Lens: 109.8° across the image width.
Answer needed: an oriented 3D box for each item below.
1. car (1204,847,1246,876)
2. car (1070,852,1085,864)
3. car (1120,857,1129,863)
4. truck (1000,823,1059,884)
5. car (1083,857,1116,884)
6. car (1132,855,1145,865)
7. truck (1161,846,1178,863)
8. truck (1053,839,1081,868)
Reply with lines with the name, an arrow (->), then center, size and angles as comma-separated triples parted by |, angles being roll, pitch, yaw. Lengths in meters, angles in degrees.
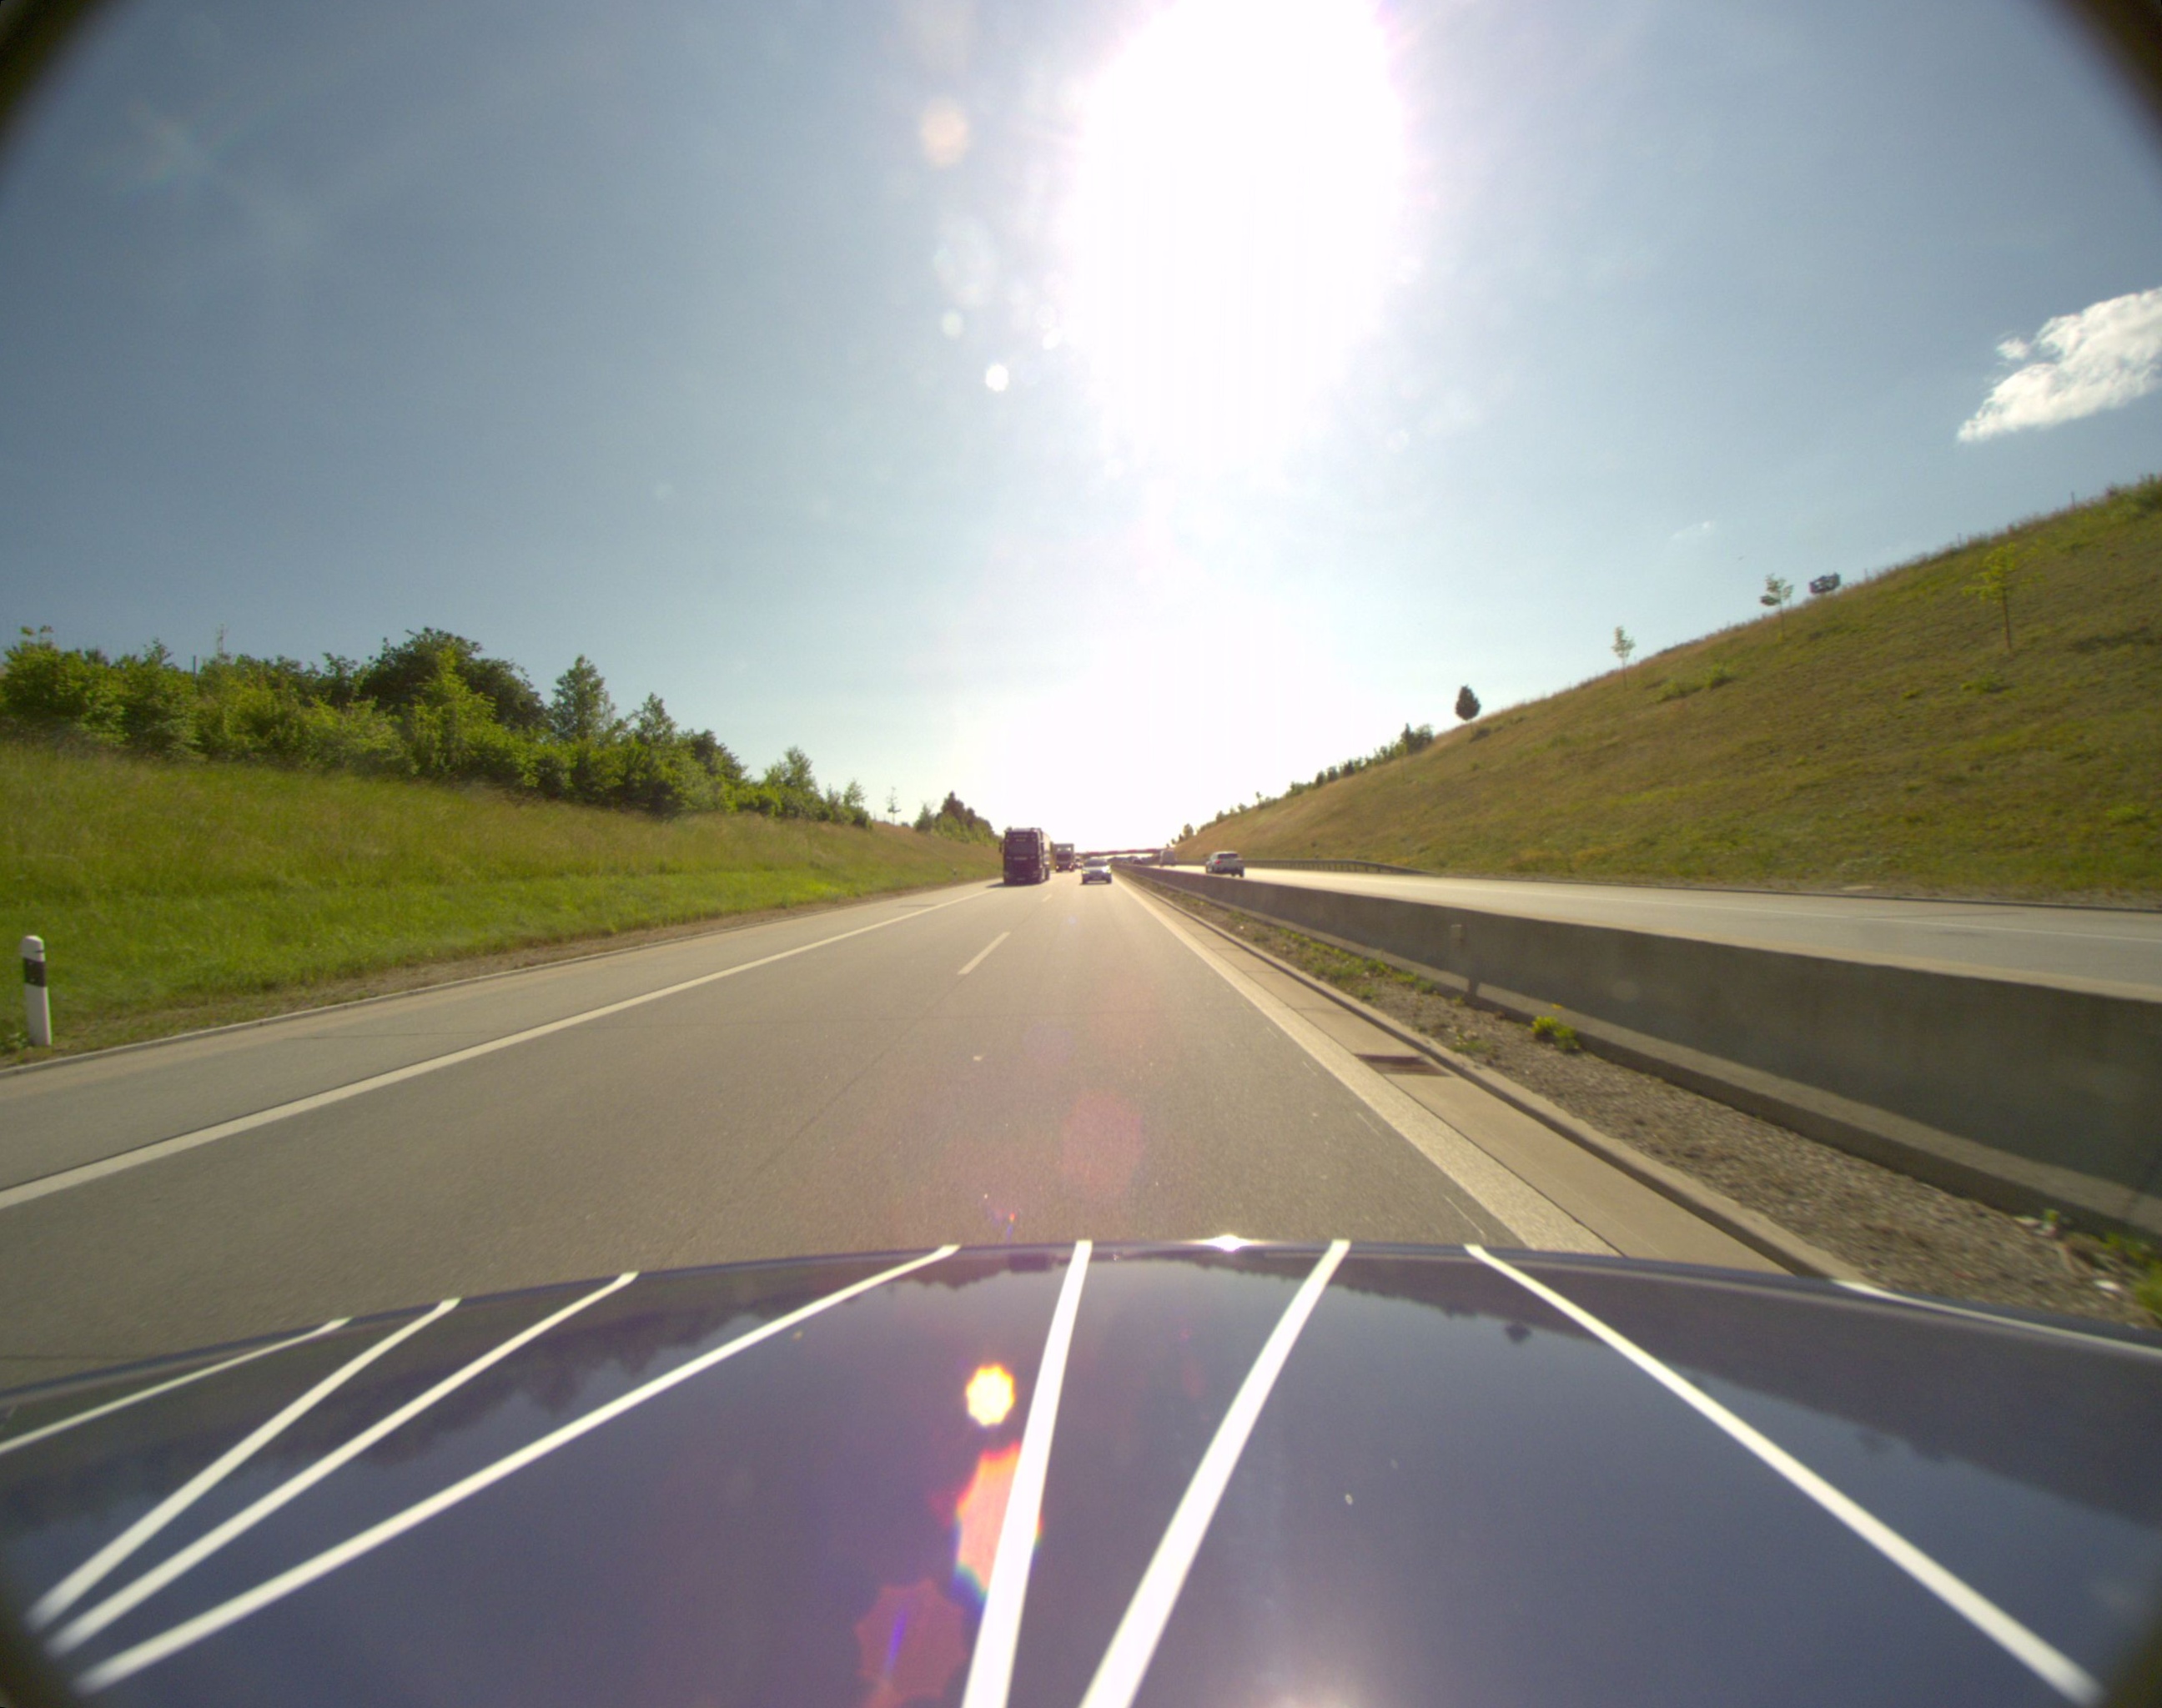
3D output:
car -> 8.586, 0.454, 45.616 | 1.780, 1.592, 4.039 | -3, 0, 1
car -> -0.691, 0.718, 148.916 | 2.816, 2.143, 5.947 | -2, 0, 0
car -> 11.068, 1.484, 192.643 | 1.858, 1.453, 4.769 | -3, 0, 1
truck -> -3.544, -0.044, 56.090 | 2.623, 3.795, 13.405 | -5, 0, 2
car -> 1.189, 0.996, 47.405 | 1.795, 1.501, 3.636 | -4, 0, 4
car -> 9.506, 0.987, 125.305 | 1.858, 1.453, 4.333 | -3, 0, 1
truck -> 13.491, 0.048, 116.216 | 2.117, 2.446, 5.953 | -3, 0, 3
truck -> -1.901, -0.054, 108.979 | 3.024, 3.795, 13.405 | -2, 0, 2
